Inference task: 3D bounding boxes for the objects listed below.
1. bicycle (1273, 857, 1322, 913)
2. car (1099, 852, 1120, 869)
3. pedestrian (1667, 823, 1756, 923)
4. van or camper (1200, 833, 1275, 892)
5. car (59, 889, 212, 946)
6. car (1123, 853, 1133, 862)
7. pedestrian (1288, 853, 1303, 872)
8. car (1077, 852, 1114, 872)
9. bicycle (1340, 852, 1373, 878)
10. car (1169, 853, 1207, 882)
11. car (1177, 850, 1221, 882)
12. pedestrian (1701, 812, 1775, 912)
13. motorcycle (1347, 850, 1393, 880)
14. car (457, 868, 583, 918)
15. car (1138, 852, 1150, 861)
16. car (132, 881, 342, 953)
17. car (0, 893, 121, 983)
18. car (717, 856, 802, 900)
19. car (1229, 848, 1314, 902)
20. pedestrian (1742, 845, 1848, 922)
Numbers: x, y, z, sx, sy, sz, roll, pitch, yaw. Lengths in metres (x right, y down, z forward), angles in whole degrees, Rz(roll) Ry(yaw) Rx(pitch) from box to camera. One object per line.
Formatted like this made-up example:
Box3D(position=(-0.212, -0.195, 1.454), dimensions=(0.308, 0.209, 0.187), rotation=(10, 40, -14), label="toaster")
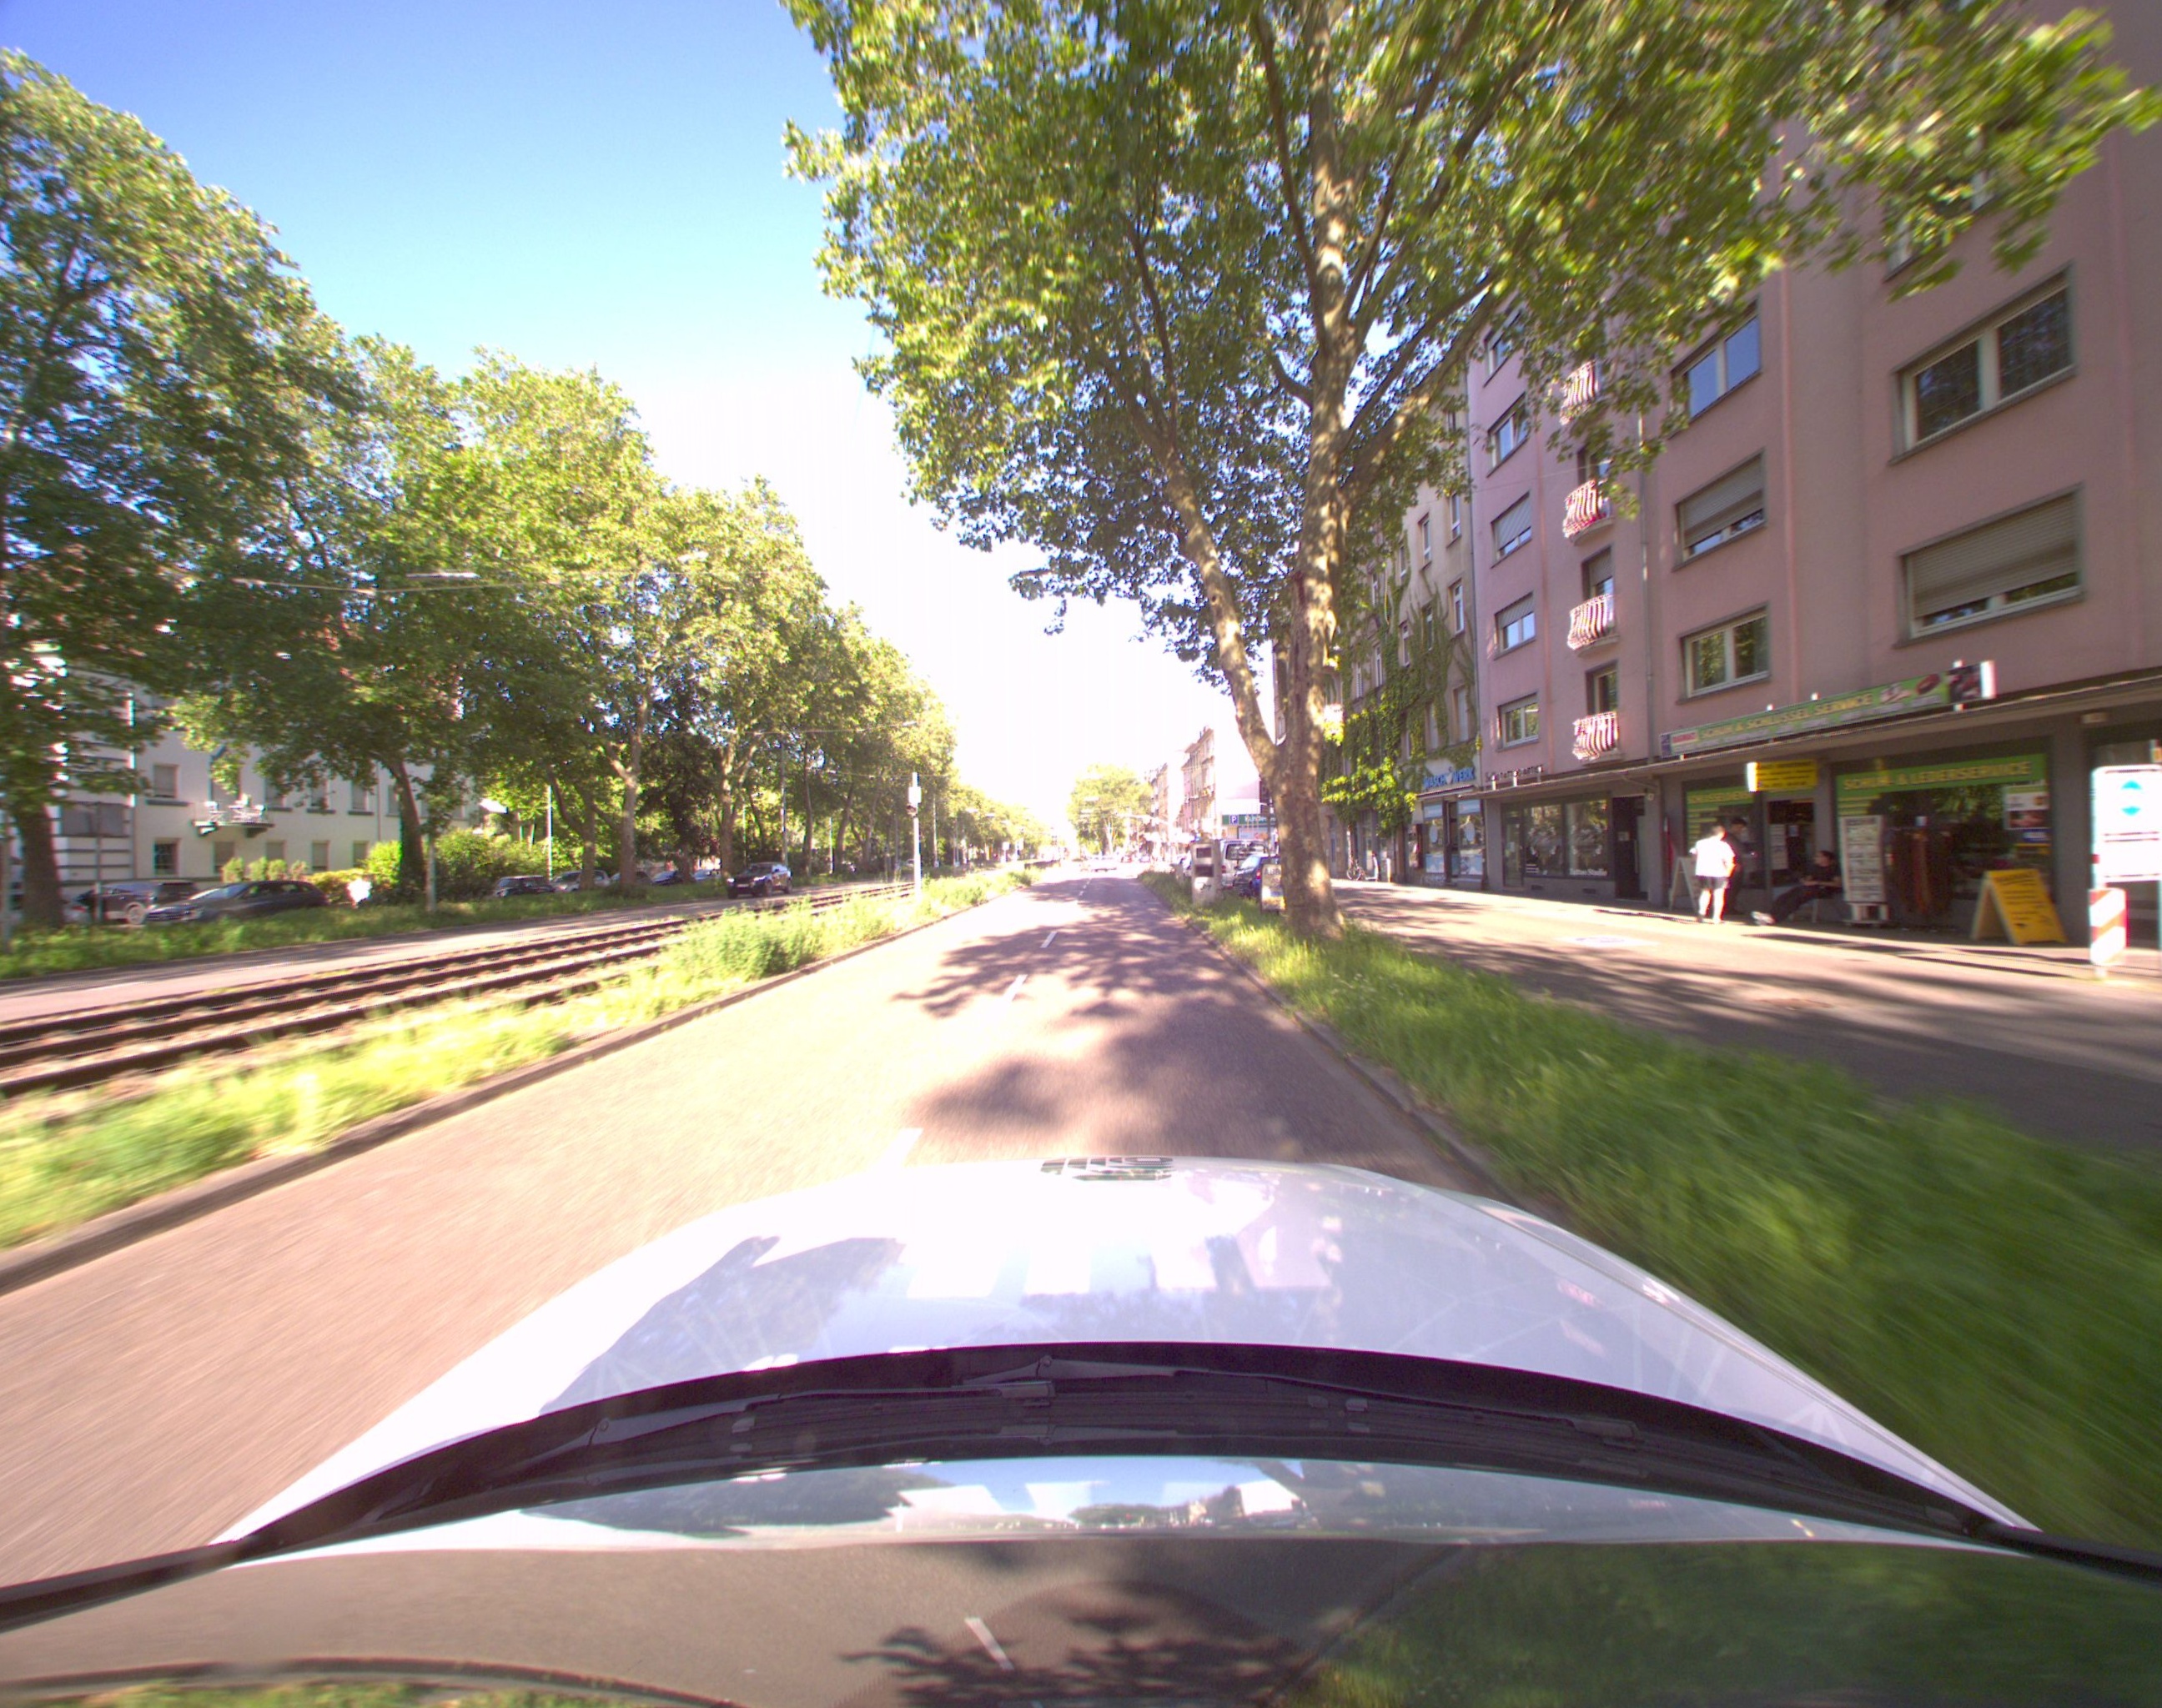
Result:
Box3D(position=(4.127, 0.574, 15.609), dimensions=(0.586, 0.990, 1.451), rotation=(-2, 0, 3), label="bicycle")
Box3D(position=(2.900, 0.677, 83.172), dimensions=(2.015, 1.662, 4.000), rotation=(-2, 0, 0), label="car")
Box3D(position=(11.279, 0.334, 14.591), dimensions=(0.919, 1.709, 0.813), rotation=(-2, 0, 2), label="pedestrian")
Box3D(position=(5.750, 0.296, 30.457), dimensions=(1.833, 1.963, 5.127), rotation=(-1, 0, 1), label="van or camper")
Box3D(position=(-36.276, 2.410, 31.317), dimensions=(3.794, 1.938, 1.714), rotation=(-2, 0, -1), label="car")
Box3D(position=(7.717, 0.575, 133.964), dimensions=(1.676, 1.509, 3.670), rotation=(-1, 0, 2), label="car")
Box3D(position=(13.204, 0.516, 50.124), dimensions=(0.704, 1.151, 0.740), rotation=(-2, 0, 2), label="pedestrian")
Box3D(position=(1.226, 0.700, 71.257), dimensions=(2.027, 1.662, 3.975), rotation=(-2, 0, -18), label="car")
Box3D(position=(12.865, 0.497, 38.061), dimensions=(0.882, 1.134, 2.402), rotation=(-2, 0, 5), label="bicycle")
Box3D(position=(5.951, 0.720, 45.537), dimensions=(1.677, 1.509, 3.667), rotation=(-1, 0, 0), label="car")
Box3D(position=(5.900, 0.577, 41.059), dimensions=(1.677, 1.509, 3.667), rotation=(-1, 0, 0), label="car")
Box3D(position=(12.383, 0.146, 15.366), dimensions=(0.683, 1.820, 0.812), rotation=(-2, 0, 0), label="pedestrian")
Box3D(position=(12.709, 0.474, 35.828), dimensions=(0.562, 1.268, 1.872), rotation=(1, 0, -43), label="motorcycle")
Box3D(position=(-26.351, 1.758, 38.561), dimensions=(2.145, 2.013, 5.270), rotation=(-2, 0, 1), label="car")
Box3D(position=(10.228, 0.402, 131.843), dimensions=(1.677, 1.509, 3.667), rotation=(-1, 0, 0), label="car")
Box3D(position=(-26.694, 1.910, 26.035), dimensions=(1.814, 1.836, 4.555), rotation=(-2, 0, 1), label="car")
Box3D(position=(-26.863, 2.108, 19.495), dimensions=(1.985, 2.013, 4.688), rotation=(-2, 0, 3), label="car")
Box3D(position=(-15.673, 1.112, 39.983), dimensions=(1.986, 1.870, 4.875), rotation=(-4, 0, 2), label="car")
Box3D(position=(5.812, 0.603, 25.280), dimensions=(1.678, 1.514, 3.665), rotation=(-1, 0, -2), label="car")
Box3D(position=(12.280, 0.498, 14.029), dimensions=(1.139, 1.256, 0.749), rotation=(-2, 0, 1), label="pedestrian")
